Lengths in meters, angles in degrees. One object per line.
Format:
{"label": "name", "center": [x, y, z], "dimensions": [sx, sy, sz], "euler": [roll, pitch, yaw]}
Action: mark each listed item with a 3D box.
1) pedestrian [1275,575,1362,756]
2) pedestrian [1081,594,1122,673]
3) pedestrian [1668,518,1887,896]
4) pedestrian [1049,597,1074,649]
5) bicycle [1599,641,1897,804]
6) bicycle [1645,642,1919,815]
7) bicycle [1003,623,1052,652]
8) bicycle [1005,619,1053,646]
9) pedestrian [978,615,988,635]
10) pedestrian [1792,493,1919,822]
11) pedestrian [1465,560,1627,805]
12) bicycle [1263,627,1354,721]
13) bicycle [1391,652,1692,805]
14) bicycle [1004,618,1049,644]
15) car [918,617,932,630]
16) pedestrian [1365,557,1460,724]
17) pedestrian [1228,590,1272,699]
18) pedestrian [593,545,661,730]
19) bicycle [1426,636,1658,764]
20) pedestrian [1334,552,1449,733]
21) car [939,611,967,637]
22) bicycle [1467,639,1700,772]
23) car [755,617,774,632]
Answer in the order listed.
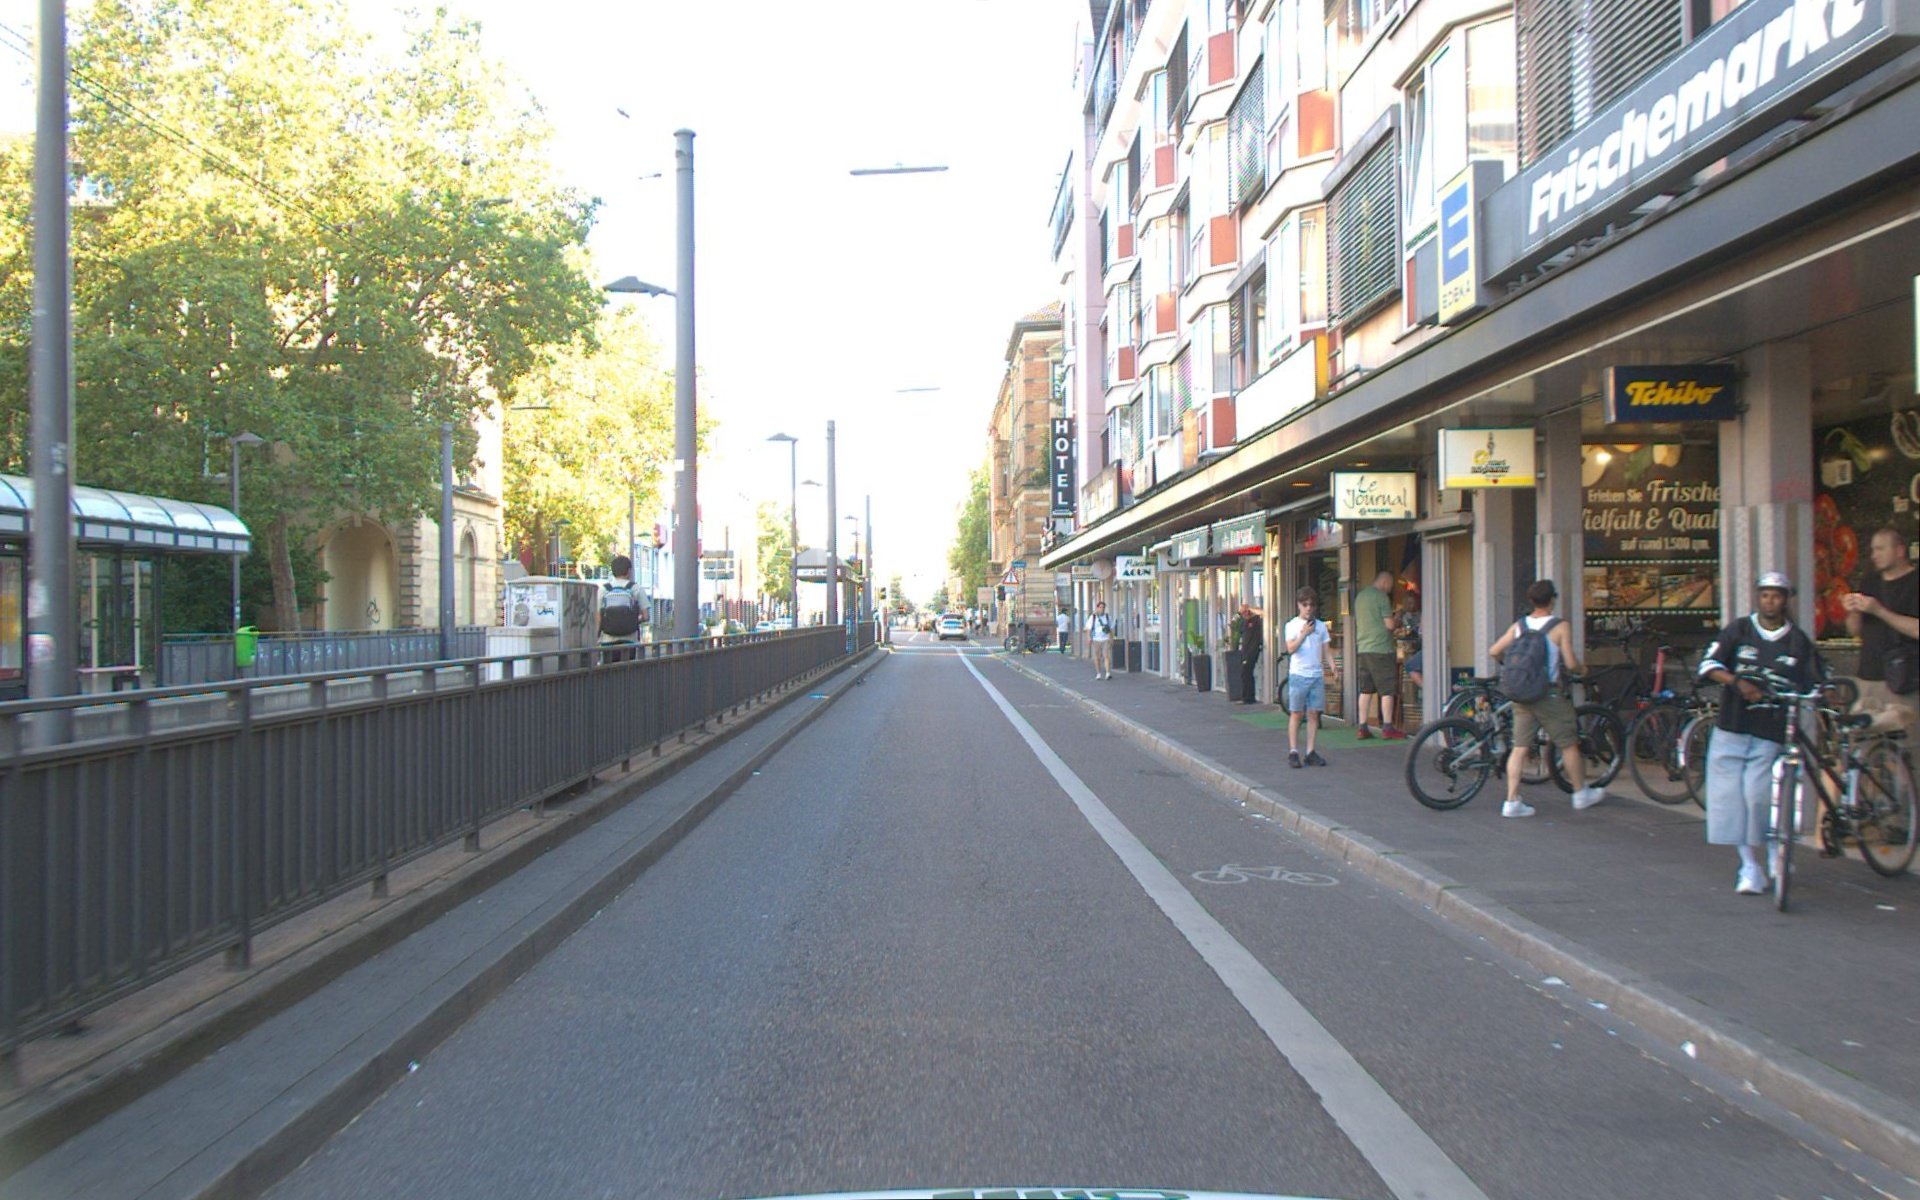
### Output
{"label": "pedestrian", "center": [3.491, 0.629, 16.148], "dimensions": [0.619, 1.703, 0.771], "euler": [-1, -1, -1]}
{"label": "pedestrian", "center": [3.248, 0.777, 38.033], "dimensions": [0.782, 1.752, 1.061], "euler": [-3, -1, 0]}
{"label": "pedestrian", "center": [4.265, 0.529, 8.640], "dimensions": [0.725, 1.848, 0.796], "euler": [1, -1, -39]}
{"label": "pedestrian", "center": [3.830, 0.863, 62.336], "dimensions": [0.796, 1.917, 0.776], "euler": [3, -1, 0]}
{"label": "bicycle", "center": [5.705, 0.874, 12.020], "dimensions": [1.886, 1.078, 0.576], "euler": [-2, -1, -4]}
{"label": "bicycle", "center": [5.776, 0.866, 11.364], "dimensions": [1.886, 1.078, 0.576], "euler": [-2, -1, -4]}
{"label": "bicycle", "center": [2.754, 1.514, 67.253], "dimensions": [1.931, 1.124, 0.614], "euler": [-1, -1, -4]}
{"label": "bicycle", "center": [2.785, 1.299, 66.600], "dimensions": [1.875, 1.066, 0.680], "euler": [0, -1, -4]}
{"label": "pedestrian", "center": [1.948, 2.126, 141.226], "dimensions": [0.760, 1.594, 0.913], "euler": [-3, -1, 0]}
{"label": "pedestrian", "center": [5.482, 0.328, 9.759], "dimensions": [0.725, 1.848, 0.796], "euler": [1, -1, -38]}
{"label": "pedestrian", "center": [4.263, 0.589, 12.092], "dimensions": [0.761, 1.693, 0.916], "euler": [-2, -1, -4]}
{"label": "bicycle", "center": [4.410, 0.916, 21.041], "dimensions": [0.644, 1.085, 1.793], "euler": [-5, -1, -2]}
{"label": "bicycle", "center": [4.319, 0.946, 12.381], "dimensions": [1.980, 0.990, 0.659], "euler": [-3, 0, 1]}
{"label": "bicycle", "center": [2.731, 1.274, 67.986], "dimensions": [1.797, 1.072, 0.717], "euler": [0, -1, -4]}
{"label": "car", "center": [-4.990, 3.342, 235.633], "dimensions": [2.000, 1.703, 4.874], "euler": [1, 0, -1]}
{"label": "pedestrian", "center": [5.297, 0.468, 19.388], "dimensions": [0.766, 1.899, 0.683], "euler": [-1, -1, -21]}
{"label": "pedestrian", "center": [4.593, 0.703, 26.224], "dimensions": [0.531, 1.703, 0.468], "euler": [-1, -1, -10]}
{"label": "pedestrian", "center": [-3.336, 0.373, 16.593], "dimensions": [0.571, 1.823, 0.605], "euler": [0, -1, -3]}
{"label": "bicycle", "center": [5.309, 0.901, 15.140], "dimensions": [1.885, 1.078, 0.576], "euler": [-2, -1, -2]}
{"label": "pedestrian", "center": [4.781, 0.466, 18.395], "dimensions": [0.896, 1.899, 0.778], "euler": [-4, -1, -5]}
{"label": "car", "center": [-0.479, 1.697, 117.043], "dimensions": [1.926, 1.803, 4.874], "euler": [1, -1, 0]}
{"label": "bicycle", "center": [5.168, 0.872, 13.776], "dimensions": [1.694, 0.990, 0.506], "euler": [-3, -1, 3]}
{"label": "car", "center": [-20.604, 2.571, 174.324], "dimensions": [1.832, 1.628, 4.250], "euler": [0, -1, -4]}
